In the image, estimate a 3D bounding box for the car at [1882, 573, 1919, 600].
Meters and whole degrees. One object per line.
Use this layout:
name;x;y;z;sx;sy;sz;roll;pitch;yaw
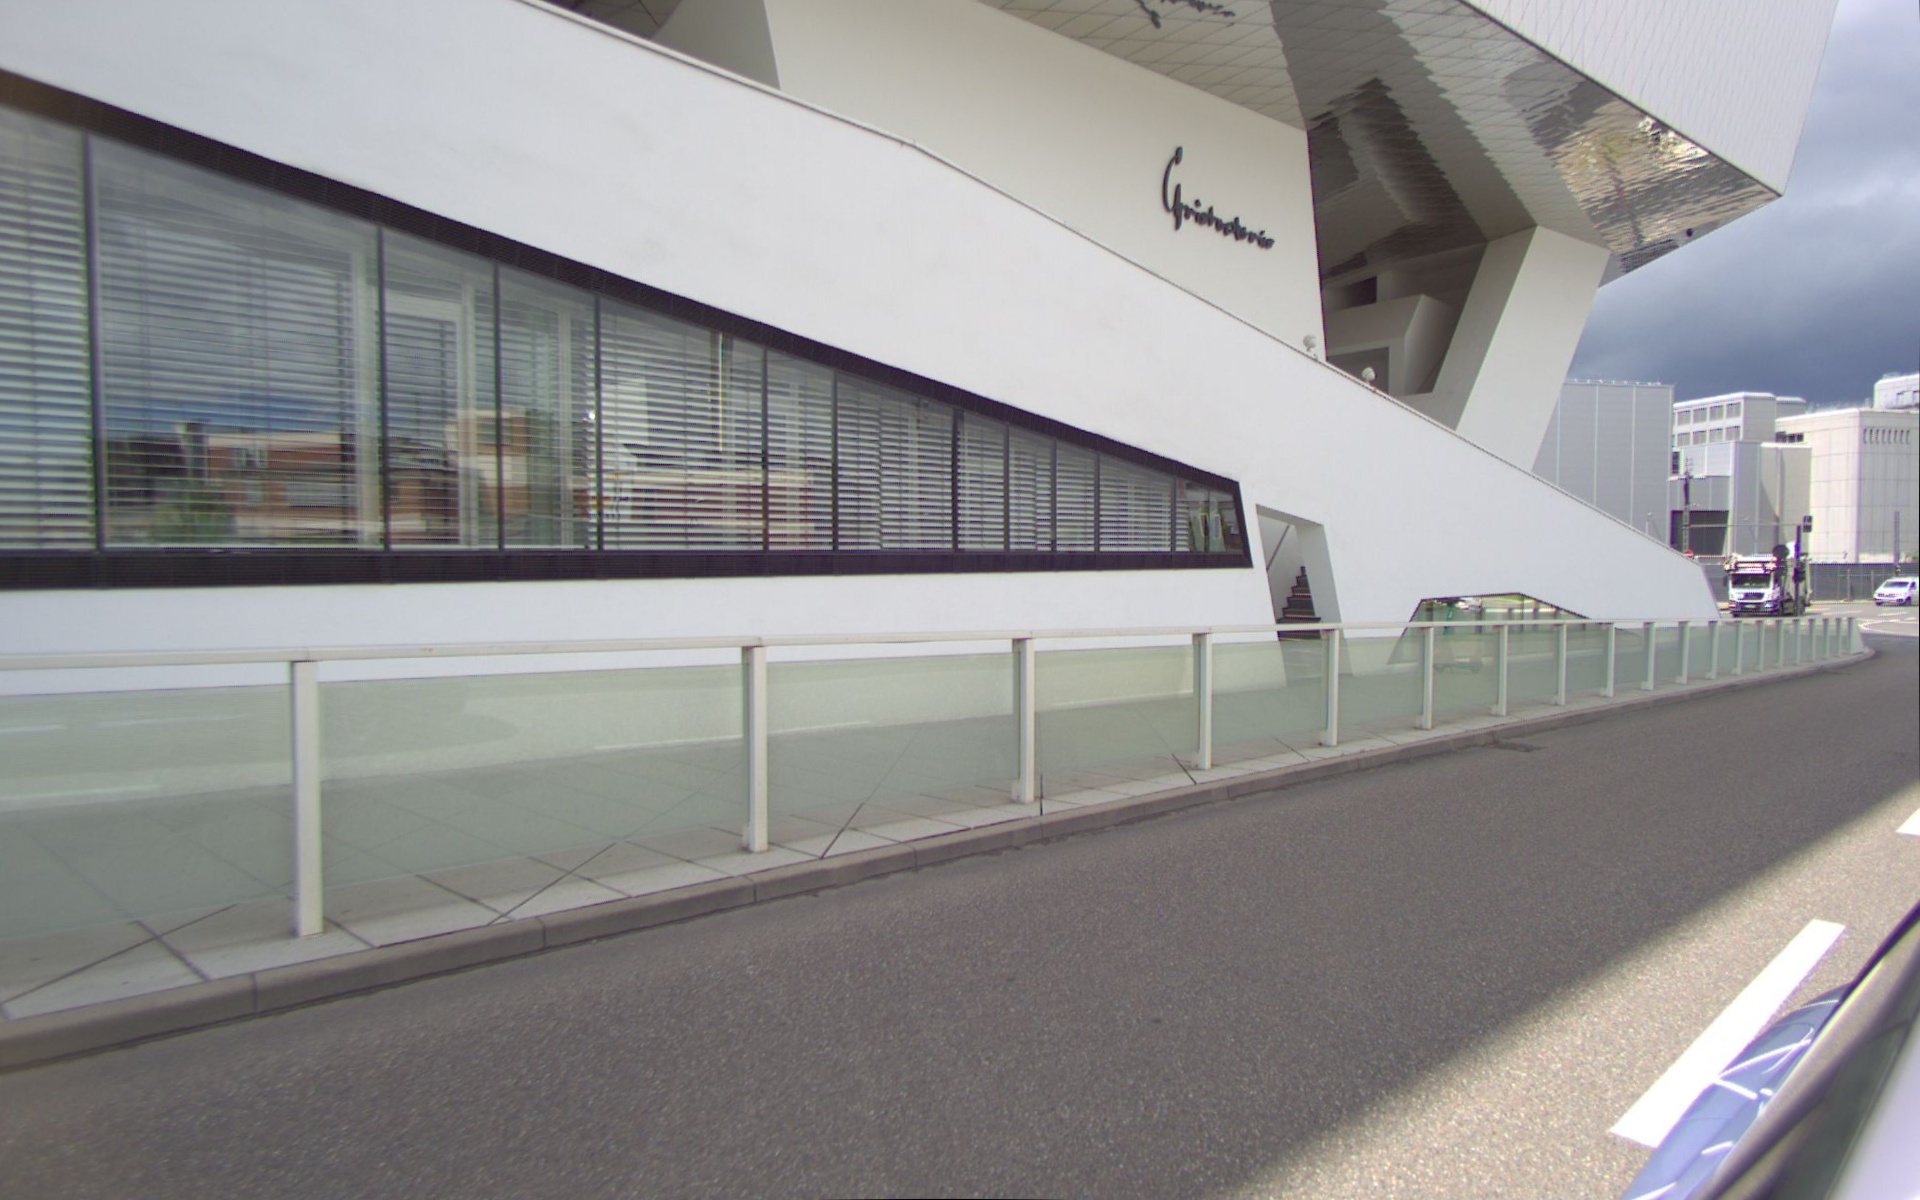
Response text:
car;70.570;-1.021;74.468;5.195;1.934;2.168;0;2;-25

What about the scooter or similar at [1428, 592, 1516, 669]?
scooter or similar;8.976;0.503;17.710;1.919;1.258;0.707;-1;2;-41

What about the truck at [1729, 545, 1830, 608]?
truck;51.866;-1.471;63.926;10.561;3.736;2.843;-1;2;-39
